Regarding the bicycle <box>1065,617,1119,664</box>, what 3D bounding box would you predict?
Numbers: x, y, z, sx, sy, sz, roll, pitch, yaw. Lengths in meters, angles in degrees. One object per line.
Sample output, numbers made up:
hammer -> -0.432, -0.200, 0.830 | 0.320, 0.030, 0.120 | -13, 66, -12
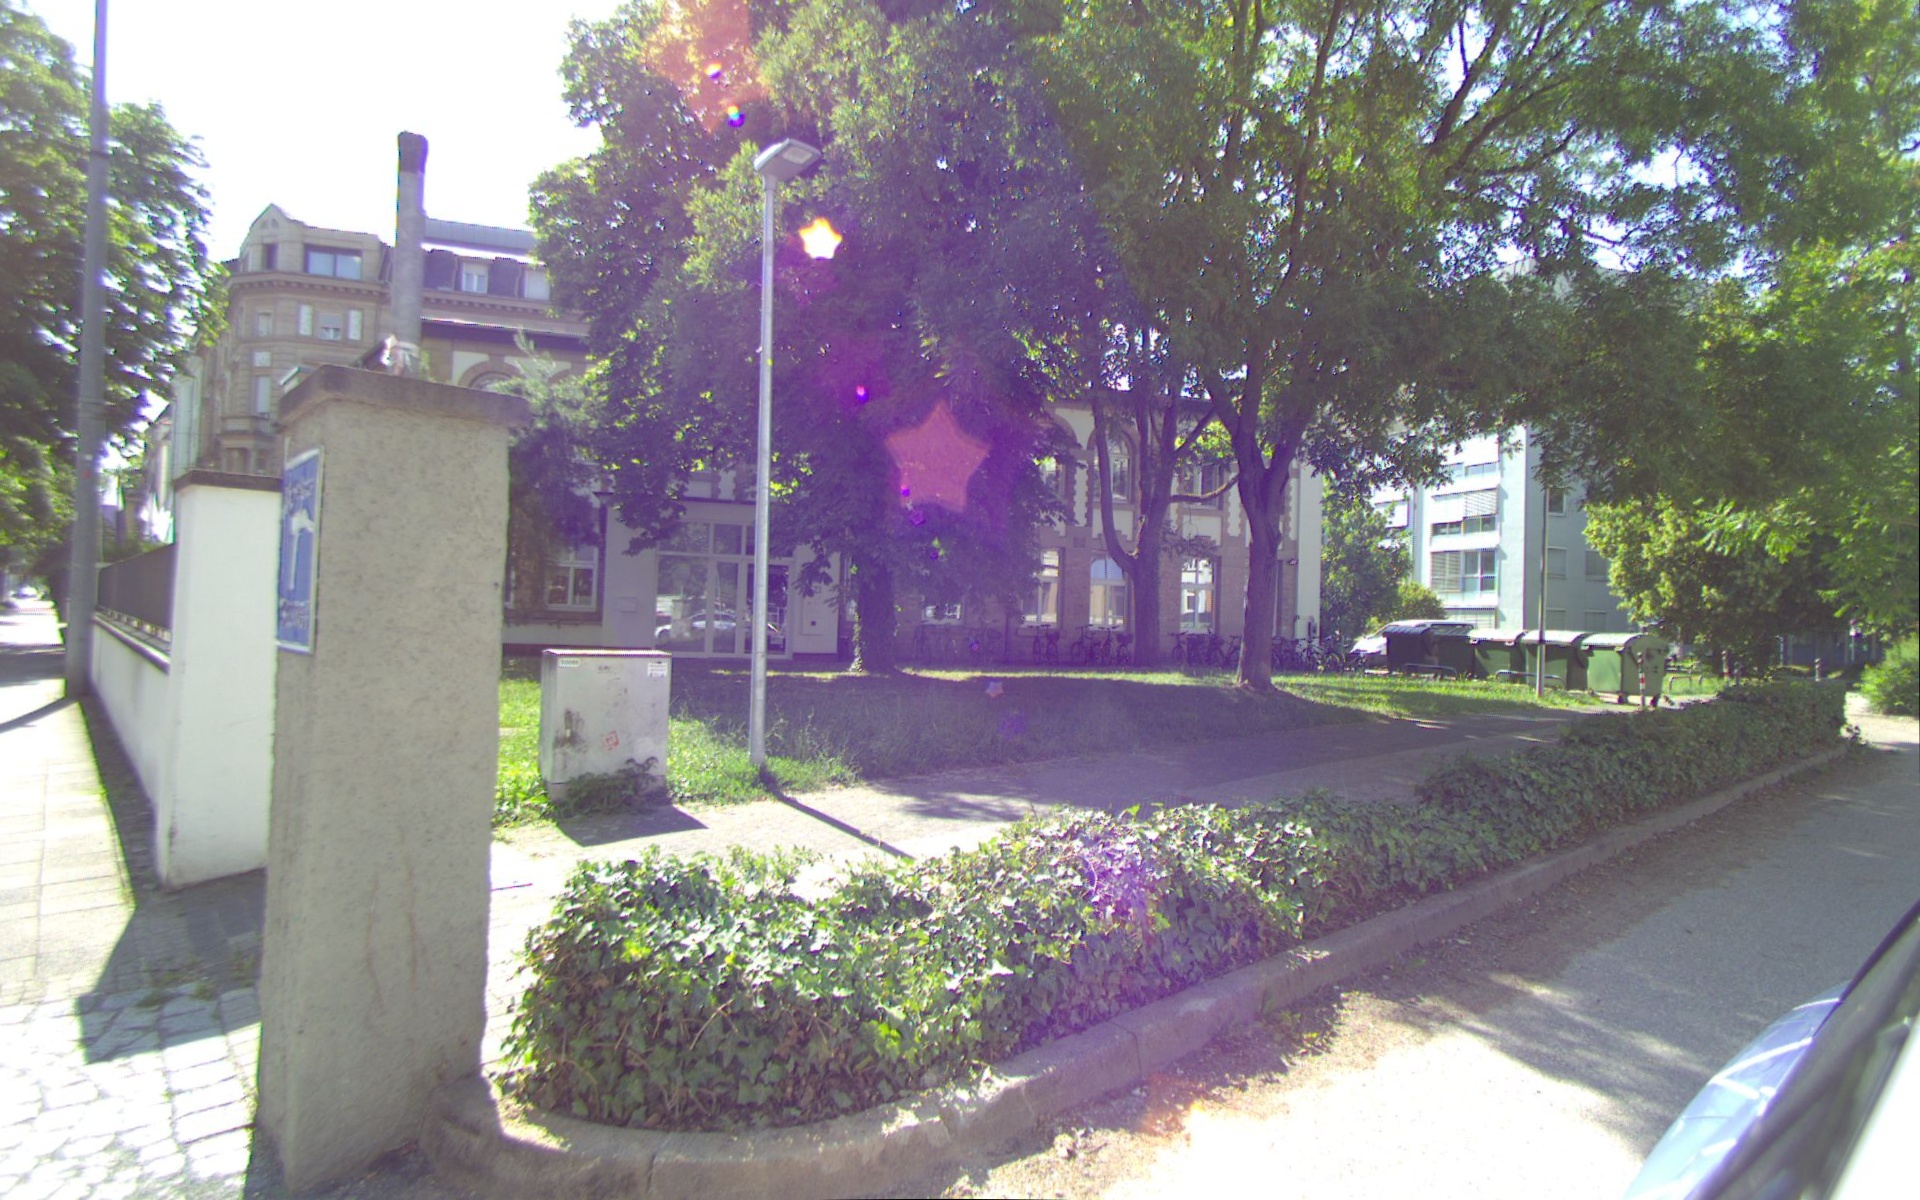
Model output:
bicycle -> 3.515, 1.059, 27.115 | 0.575, 1.176, 2.107 | 2, -1, -17

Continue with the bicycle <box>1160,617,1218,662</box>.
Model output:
bicycle -> 6.274, 1.064, 27.838 | 0.575, 1.176, 2.107 | 2, -1, -17

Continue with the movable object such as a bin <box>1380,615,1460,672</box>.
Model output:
movable object such as a bin -> 12.051, 1.135, 26.551 | 1.224, 1.427, 1.439 | 2, -1, -21

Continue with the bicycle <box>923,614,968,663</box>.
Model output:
bicycle -> -0.400, 0.966, 26.127 | 0.575, 1.176, 2.107 | 2, -1, -17

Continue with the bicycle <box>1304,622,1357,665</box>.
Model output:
bicycle -> 10.607, 1.229, 29.037 | 0.496, 1.176, 1.808 | 2, -1, -12

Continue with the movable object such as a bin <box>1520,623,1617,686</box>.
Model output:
movable object such as a bin -> 13.273, 1.175, 22.098 | 1.190, 1.317, 1.358 | 2, -1, -20

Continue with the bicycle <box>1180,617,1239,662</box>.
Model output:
bicycle -> 6.885, 1.069, 28.082 | 0.575, 1.176, 2.107 | 2, -1, -17

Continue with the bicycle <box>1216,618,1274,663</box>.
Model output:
bicycle -> 7.941, 1.112, 28.287 | 0.575, 1.176, 1.925 | 2, -1, -17

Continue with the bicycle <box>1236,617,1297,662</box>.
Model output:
bicycle -> 8.622, 1.101, 28.568 | 0.575, 1.176, 2.107 | 2, -1, -17

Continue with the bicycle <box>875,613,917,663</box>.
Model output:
bicycle -> -1.643, 0.940, 25.624 | 0.575, 1.176, 2.107 | 2, -1, -17

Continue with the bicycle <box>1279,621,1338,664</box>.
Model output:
bicycle -> 9.957, 1.200, 29.003 | 0.600, 1.176, 1.855 | 2, -1, -17

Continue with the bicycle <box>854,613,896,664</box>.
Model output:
bicycle -> -2.130, 0.936, 25.014 | 0.575, 1.176, 2.107 | 2, -1, -17

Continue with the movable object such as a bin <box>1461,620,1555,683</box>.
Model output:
movable object such as a bin -> 12.710, 1.185, 23.520 | 1.190, 1.379, 1.505 | 2, -1, -20

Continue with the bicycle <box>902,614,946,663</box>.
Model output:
bicycle -> -0.948, 0.961, 25.831 | 0.575, 1.176, 2.107 | 2, -1, -17

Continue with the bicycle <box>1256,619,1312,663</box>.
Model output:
bicycle -> 9.165, 1.140, 28.710 | 0.484, 1.176, 1.918 | 2, -1, -17

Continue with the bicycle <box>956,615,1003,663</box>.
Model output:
bicycle -> 0.491, 0.985, 26.329 | 0.575, 1.176, 2.107 | 2, -1, -17

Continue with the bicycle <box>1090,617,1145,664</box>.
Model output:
bicycle -> 4.231, 1.078, 27.369 | 0.575, 1.176, 2.107 | 2, -1, -17

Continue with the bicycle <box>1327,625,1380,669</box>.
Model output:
bicycle -> 11.232, 1.315, 28.966 | 0.546, 1.176, 1.947 | 1, -1, -7

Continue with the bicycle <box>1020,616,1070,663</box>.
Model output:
bicycle -> 2.228, 1.018, 26.766 | 0.575, 1.176, 2.107 | 2, -1, -17

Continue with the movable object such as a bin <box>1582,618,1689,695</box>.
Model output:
movable object such as a bin -> 13.795, 1.129, 20.715 | 1.191, 1.481, 1.393 | 1, -1, -5

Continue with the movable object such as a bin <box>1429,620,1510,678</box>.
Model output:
movable object such as a bin -> 12.607, 1.200, 25.074 | 1.190, 1.366, 1.355 | 2, -1, -20
